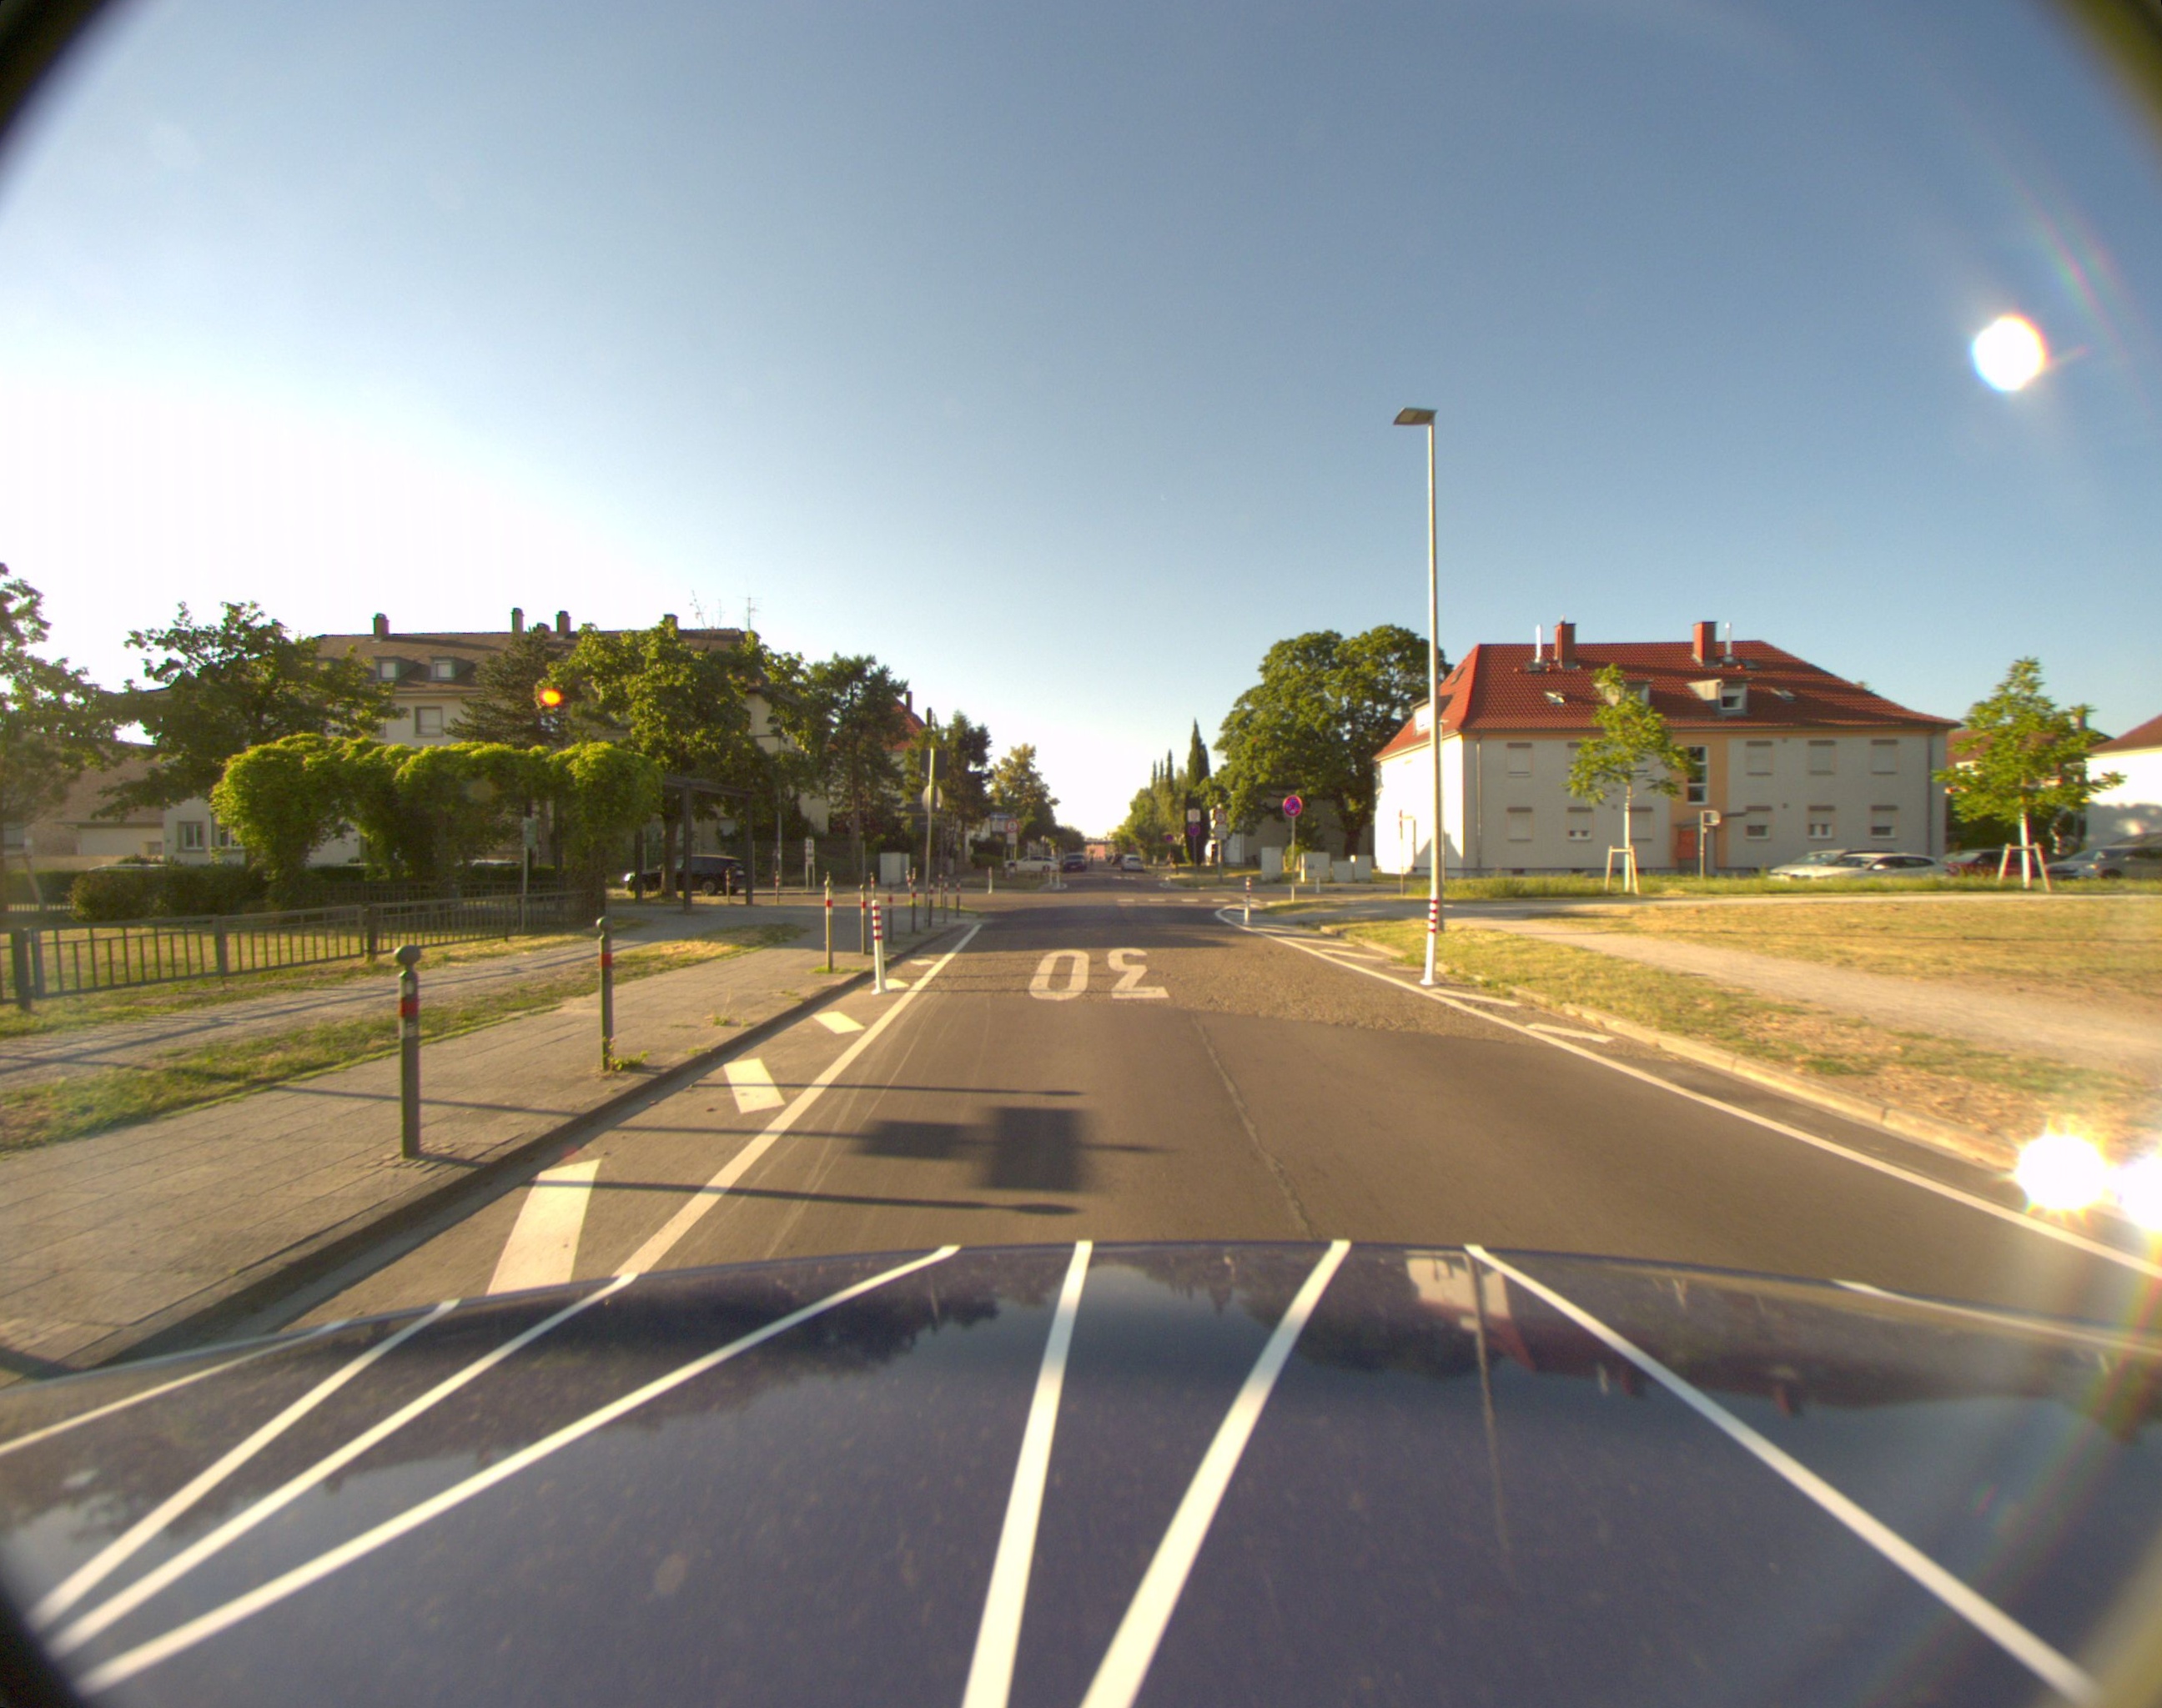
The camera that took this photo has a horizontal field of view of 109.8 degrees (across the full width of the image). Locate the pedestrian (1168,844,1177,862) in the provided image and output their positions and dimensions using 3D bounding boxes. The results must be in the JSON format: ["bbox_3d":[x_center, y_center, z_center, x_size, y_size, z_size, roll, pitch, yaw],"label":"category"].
[{"bbox_3d":[9.854,-0.125,82.189,0.898,2.002,0.692,-1,1,1],"label":"pedestrian"}]

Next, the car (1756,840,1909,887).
[{"bbox_3d":[28.530,0.384,28.953,3.997,1.685,1.851,-1,-1,-1],"label":"car"}]

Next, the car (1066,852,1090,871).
[{"bbox_3d":[-0.275,0.629,68.519,1.971,1.604,4.246,-1,1,-2],"label":"car"}]

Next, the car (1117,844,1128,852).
[{"bbox_3d":[7.955,-1.191,146.105,1.970,1.604,4.247,-1,1,1],"label":"car"}]

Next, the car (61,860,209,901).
[{"bbox_3d":[-38.754,1.057,31.194,3.770,1.517,1.770,-1,2,0],"label":"car"}]

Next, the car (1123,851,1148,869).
[{"bbox_3d":[4.949,0.504,69.608,1.970,1.604,4.247,-1,1,1],"label":"car"}]

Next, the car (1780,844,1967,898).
[{"bbox_3d":[26.329,0.577,25.347,4.298,1.685,1.871,-1,-1,-1],"label":"car"}]

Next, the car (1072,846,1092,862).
[{"bbox_3d":[0.107,-0.018,81.271,1.971,1.604,4.246,-1,1,-2],"label":"car"}]

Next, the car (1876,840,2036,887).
[{"bbox_3d":[33.258,0.358,28.964,3.997,1.685,1.851,-1,-1,-1],"label":"car"}]

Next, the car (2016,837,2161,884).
[{"bbox_3d":[38.371,0.241,28.647,3.997,1.685,1.851,-1,-1,-1],"label":"car"}]

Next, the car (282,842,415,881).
[{"bbox_3d":[-29.649,0.277,30.837,3.756,1.509,1.735,-1,1,2],"label":"car"}]

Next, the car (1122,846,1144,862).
[{"bbox_3d":[5.355,-0.021,78.125,1.970,1.604,4.247,-1,1,1],"label":"car"}]

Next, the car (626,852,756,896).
[{"bbox_3d":[-15.340,0.798,30.029,4.213,1.631,1.823,-1,-2,0],"label":"car"}]

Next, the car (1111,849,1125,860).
[{"bbox_3d":[5.613,-0.001,114.989,1.970,1.604,4.247,-1,1,1],"label":"car"}]

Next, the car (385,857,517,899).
[{"bbox_3d":[-24.659,0.904,29.829,3.768,1.517,1.771,-1,2,5],"label":"car"}]

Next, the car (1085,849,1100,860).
[{"bbox_3d":[1.691,0.022,114.950,1.971,1.604,4.246,-1,1,-2],"label":"car"}]

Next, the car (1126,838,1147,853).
[{"bbox_3d":[6.029,-0.936,82.734,1.970,1.604,4.247,-1,1,1],"label":"car"}]

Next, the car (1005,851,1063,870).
[{"bbox_3d":[-3.925,0.529,64.560,4.835,1.604,1.971,0,1,-1],"label":"car"}]

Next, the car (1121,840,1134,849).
[{"bbox_3d":[7.929,-1.616,130.369,1.970,1.604,4.246,-1,1,0],"label":"car"}]
